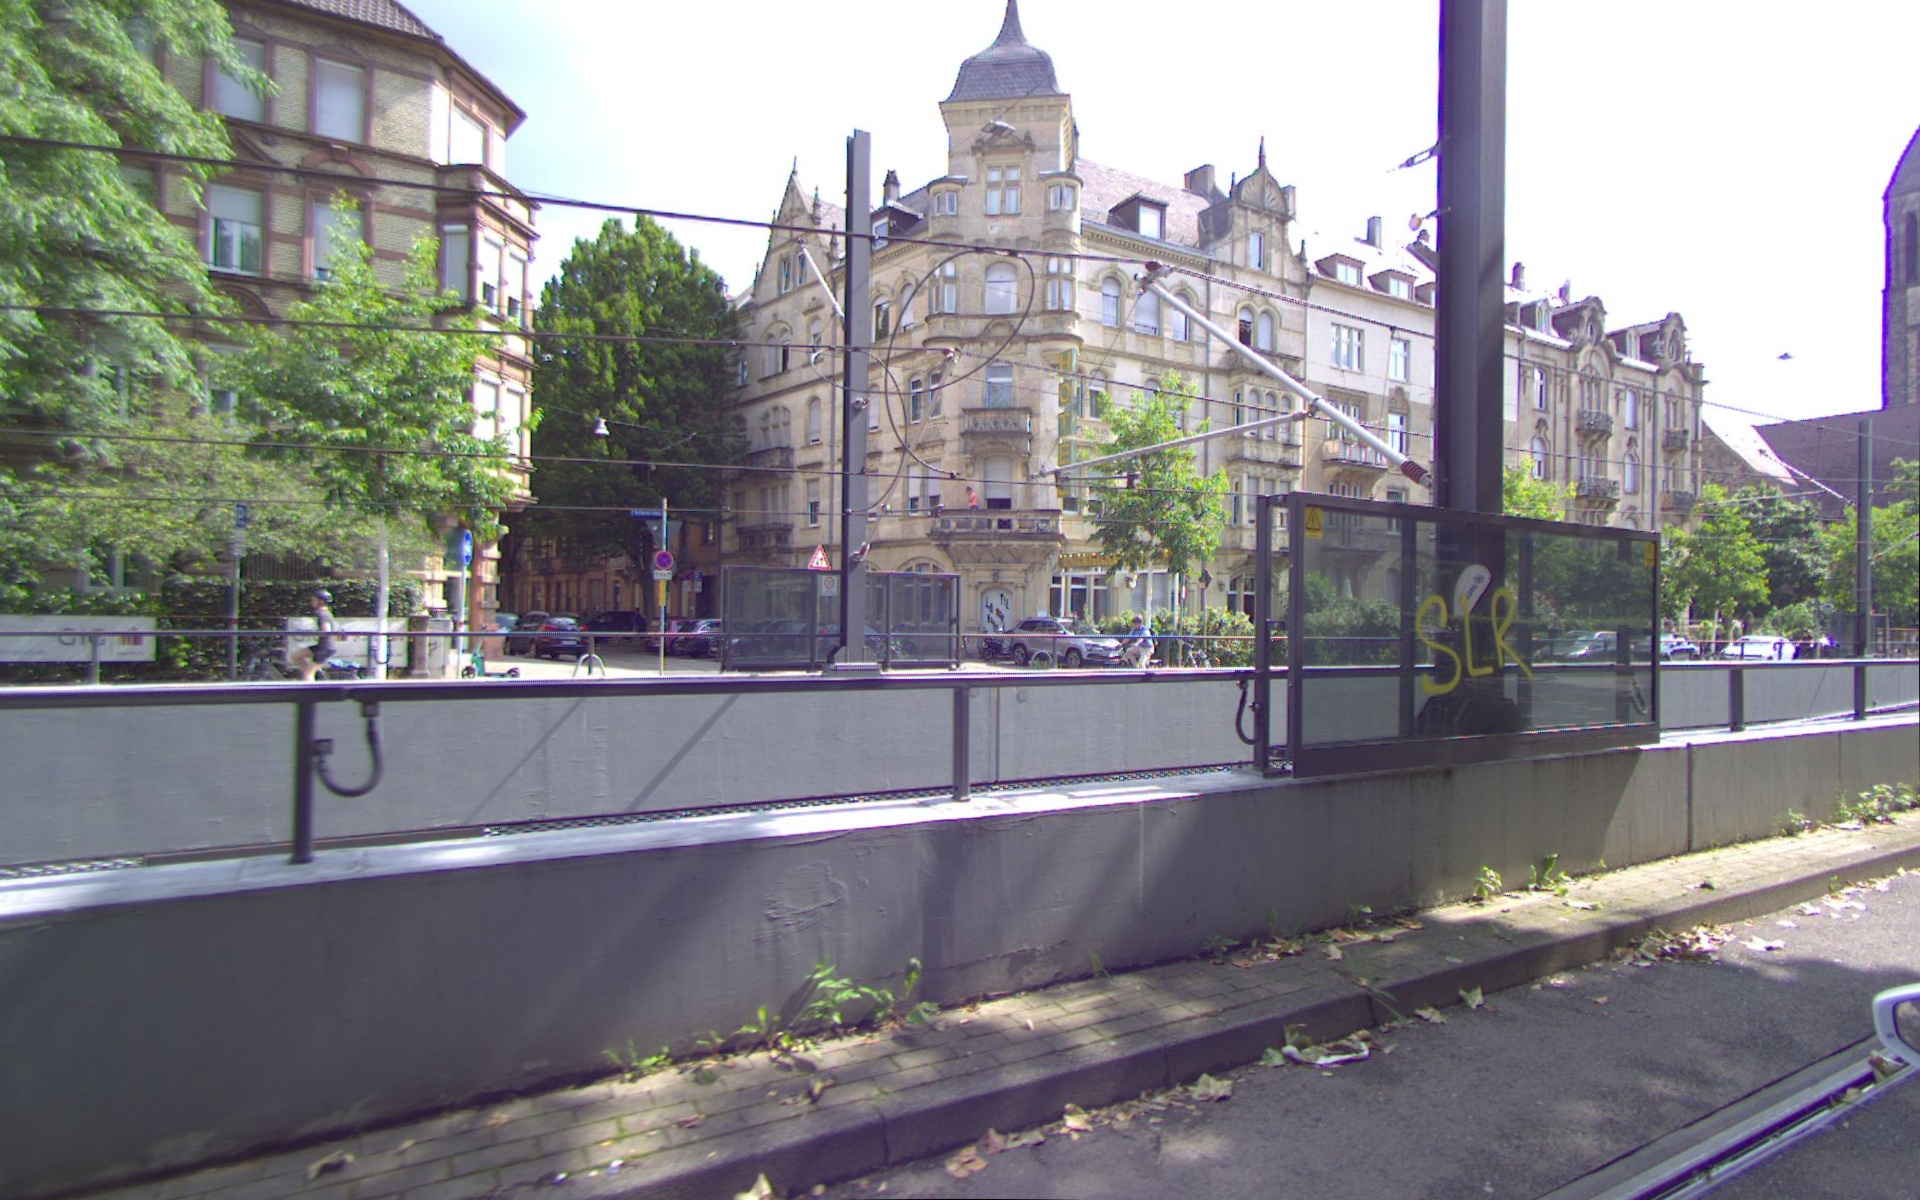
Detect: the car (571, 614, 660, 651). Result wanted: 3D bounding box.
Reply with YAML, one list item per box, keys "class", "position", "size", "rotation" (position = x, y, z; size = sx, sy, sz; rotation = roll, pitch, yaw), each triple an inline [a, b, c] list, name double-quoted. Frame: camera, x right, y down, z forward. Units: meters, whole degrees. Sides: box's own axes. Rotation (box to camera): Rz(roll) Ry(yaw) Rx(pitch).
- class: "car"
  position: [-16.436, 1.546, 47.982]
  size: [3.739, 1.723, 1.668]
  rotation: [2, -2, -34]

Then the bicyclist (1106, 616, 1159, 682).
- class: "bicyclist"
  position: [4.042, 1.147, 23.562]
  size: [0.966, 1.498, 0.735]
  rotation: [1, -3, -30]

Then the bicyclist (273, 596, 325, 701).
- class: "bicyclist"
  position: [-10.072, 0.735, 15.326]
  size: [0.600, 1.564, 0.501]
  rotation: [1, -2, -30]

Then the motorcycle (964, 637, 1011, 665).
- class: "motorcycle"
  position: [0.948, 1.781, 34.808]
  size: [1.564, 0.935, 0.492]
  rotation: [1, -1, -12]

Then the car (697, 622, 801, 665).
- class: "car"
  position: [-7.885, 1.628, 37.737]
  size: [3.492, 1.512, 1.661]
  rotation: [2, -2, -45]

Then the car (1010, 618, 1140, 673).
- class: "car"
  position: [3.676, 1.435, 32.566]
  size: [2.019, 1.627, 3.919]
  rotation: [2, -1, -38]

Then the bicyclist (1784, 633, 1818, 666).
- class: "bicyclist"
  position: [35.408, 2.078, 42.293]
  size: [1.036, 1.355, 0.764]
  rotation: [1, -3, -29]

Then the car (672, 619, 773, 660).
- class: "car"
  position: [-9.269, 1.543, 39.290]
  size: [3.489, 1.505, 1.663]
  rotation: [2, -2, -42]

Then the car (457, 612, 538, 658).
- class: "car"
  position: [-18.261, 1.349, 39.565]
  size: [1.912, 1.697, 3.953]
  rotation: [2, -2, -40]

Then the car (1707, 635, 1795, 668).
- class: "car"
  position: [34.961, 2.253, 44.368]
  size: [4.265, 1.345, 1.742]
  rotation: [2, -2, -32]

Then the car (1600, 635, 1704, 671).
- class: "car"
  position: [27.417, 2.073, 39.775]
  size: [4.055, 1.345, 2.009]
  rotation: [2, -1, -32]

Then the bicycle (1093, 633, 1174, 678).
- class: "bicycle"
  position: [4.079, 1.298, 23.584]
  size: [1.876, 1.009, 0.722]
  rotation: [1, -3, -31]

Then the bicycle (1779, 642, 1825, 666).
- class: "bicycle"
  position: [35.518, 2.256, 42.363]
  size: [2.115, 0.991, 0.772]
  rotation: [2, -3, -30]

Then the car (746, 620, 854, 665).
- class: "car"
  position: [-5.666, 1.510, 35.766]
  size: [3.490, 1.512, 1.662]
  rotation: [2, -2, -43]

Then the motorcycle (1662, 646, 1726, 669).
- class: "motorcycle"
  position: [30.486, 2.376, 41.723]
  size: [1.401, 0.954, 1.752]
  rotation: [2, -3, -31]

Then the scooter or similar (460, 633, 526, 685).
- class: "scooter or similar"
  position: [-10.209, 1.280, 21.974]
  size: [1.273, 1.096, 0.375]
  rotation: [1, 1, -30]

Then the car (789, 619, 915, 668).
- class: "car"
  position: [-3.640, 1.461, 34.239]
  size: [4.109, 1.540, 1.662]
  rotation: [2, -2, -43]

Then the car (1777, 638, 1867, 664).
- class: "car"
  position: [53.586, 3.146, 62.506]
  size: [1.703, 1.483, 3.945]
  rotation: [2, -2, -29]

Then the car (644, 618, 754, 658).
- class: "car"
  position: [-10.818, 1.554, 41.761]
  size: [3.967, 1.515, 1.977]
  rotation: [-1, 0, -40]

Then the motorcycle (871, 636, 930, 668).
- class: "motorcycle"
  position: [-1.875, 1.644, 31.990]
  size: [1.985, 1.007, 0.517]
  rotation: [2, -2, -42]

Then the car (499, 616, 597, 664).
- class: "car"
  position: [-14.434, 1.379, 35.106]
  size: [1.912, 1.556, 3.950]
  rotation: [3, -3, -42]

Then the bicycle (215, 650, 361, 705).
- class: "bicycle"
  position: [-10.196, 1.160, 15.317]
  size: [1.796, 0.778, 0.494]
  rotation: [1, -1, -31]

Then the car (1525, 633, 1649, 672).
- class: "car"
  position: [23.259, 1.934, 37.225]
  size: [4.668, 1.345, 1.940]
  rotation: [1, -1, -29]
